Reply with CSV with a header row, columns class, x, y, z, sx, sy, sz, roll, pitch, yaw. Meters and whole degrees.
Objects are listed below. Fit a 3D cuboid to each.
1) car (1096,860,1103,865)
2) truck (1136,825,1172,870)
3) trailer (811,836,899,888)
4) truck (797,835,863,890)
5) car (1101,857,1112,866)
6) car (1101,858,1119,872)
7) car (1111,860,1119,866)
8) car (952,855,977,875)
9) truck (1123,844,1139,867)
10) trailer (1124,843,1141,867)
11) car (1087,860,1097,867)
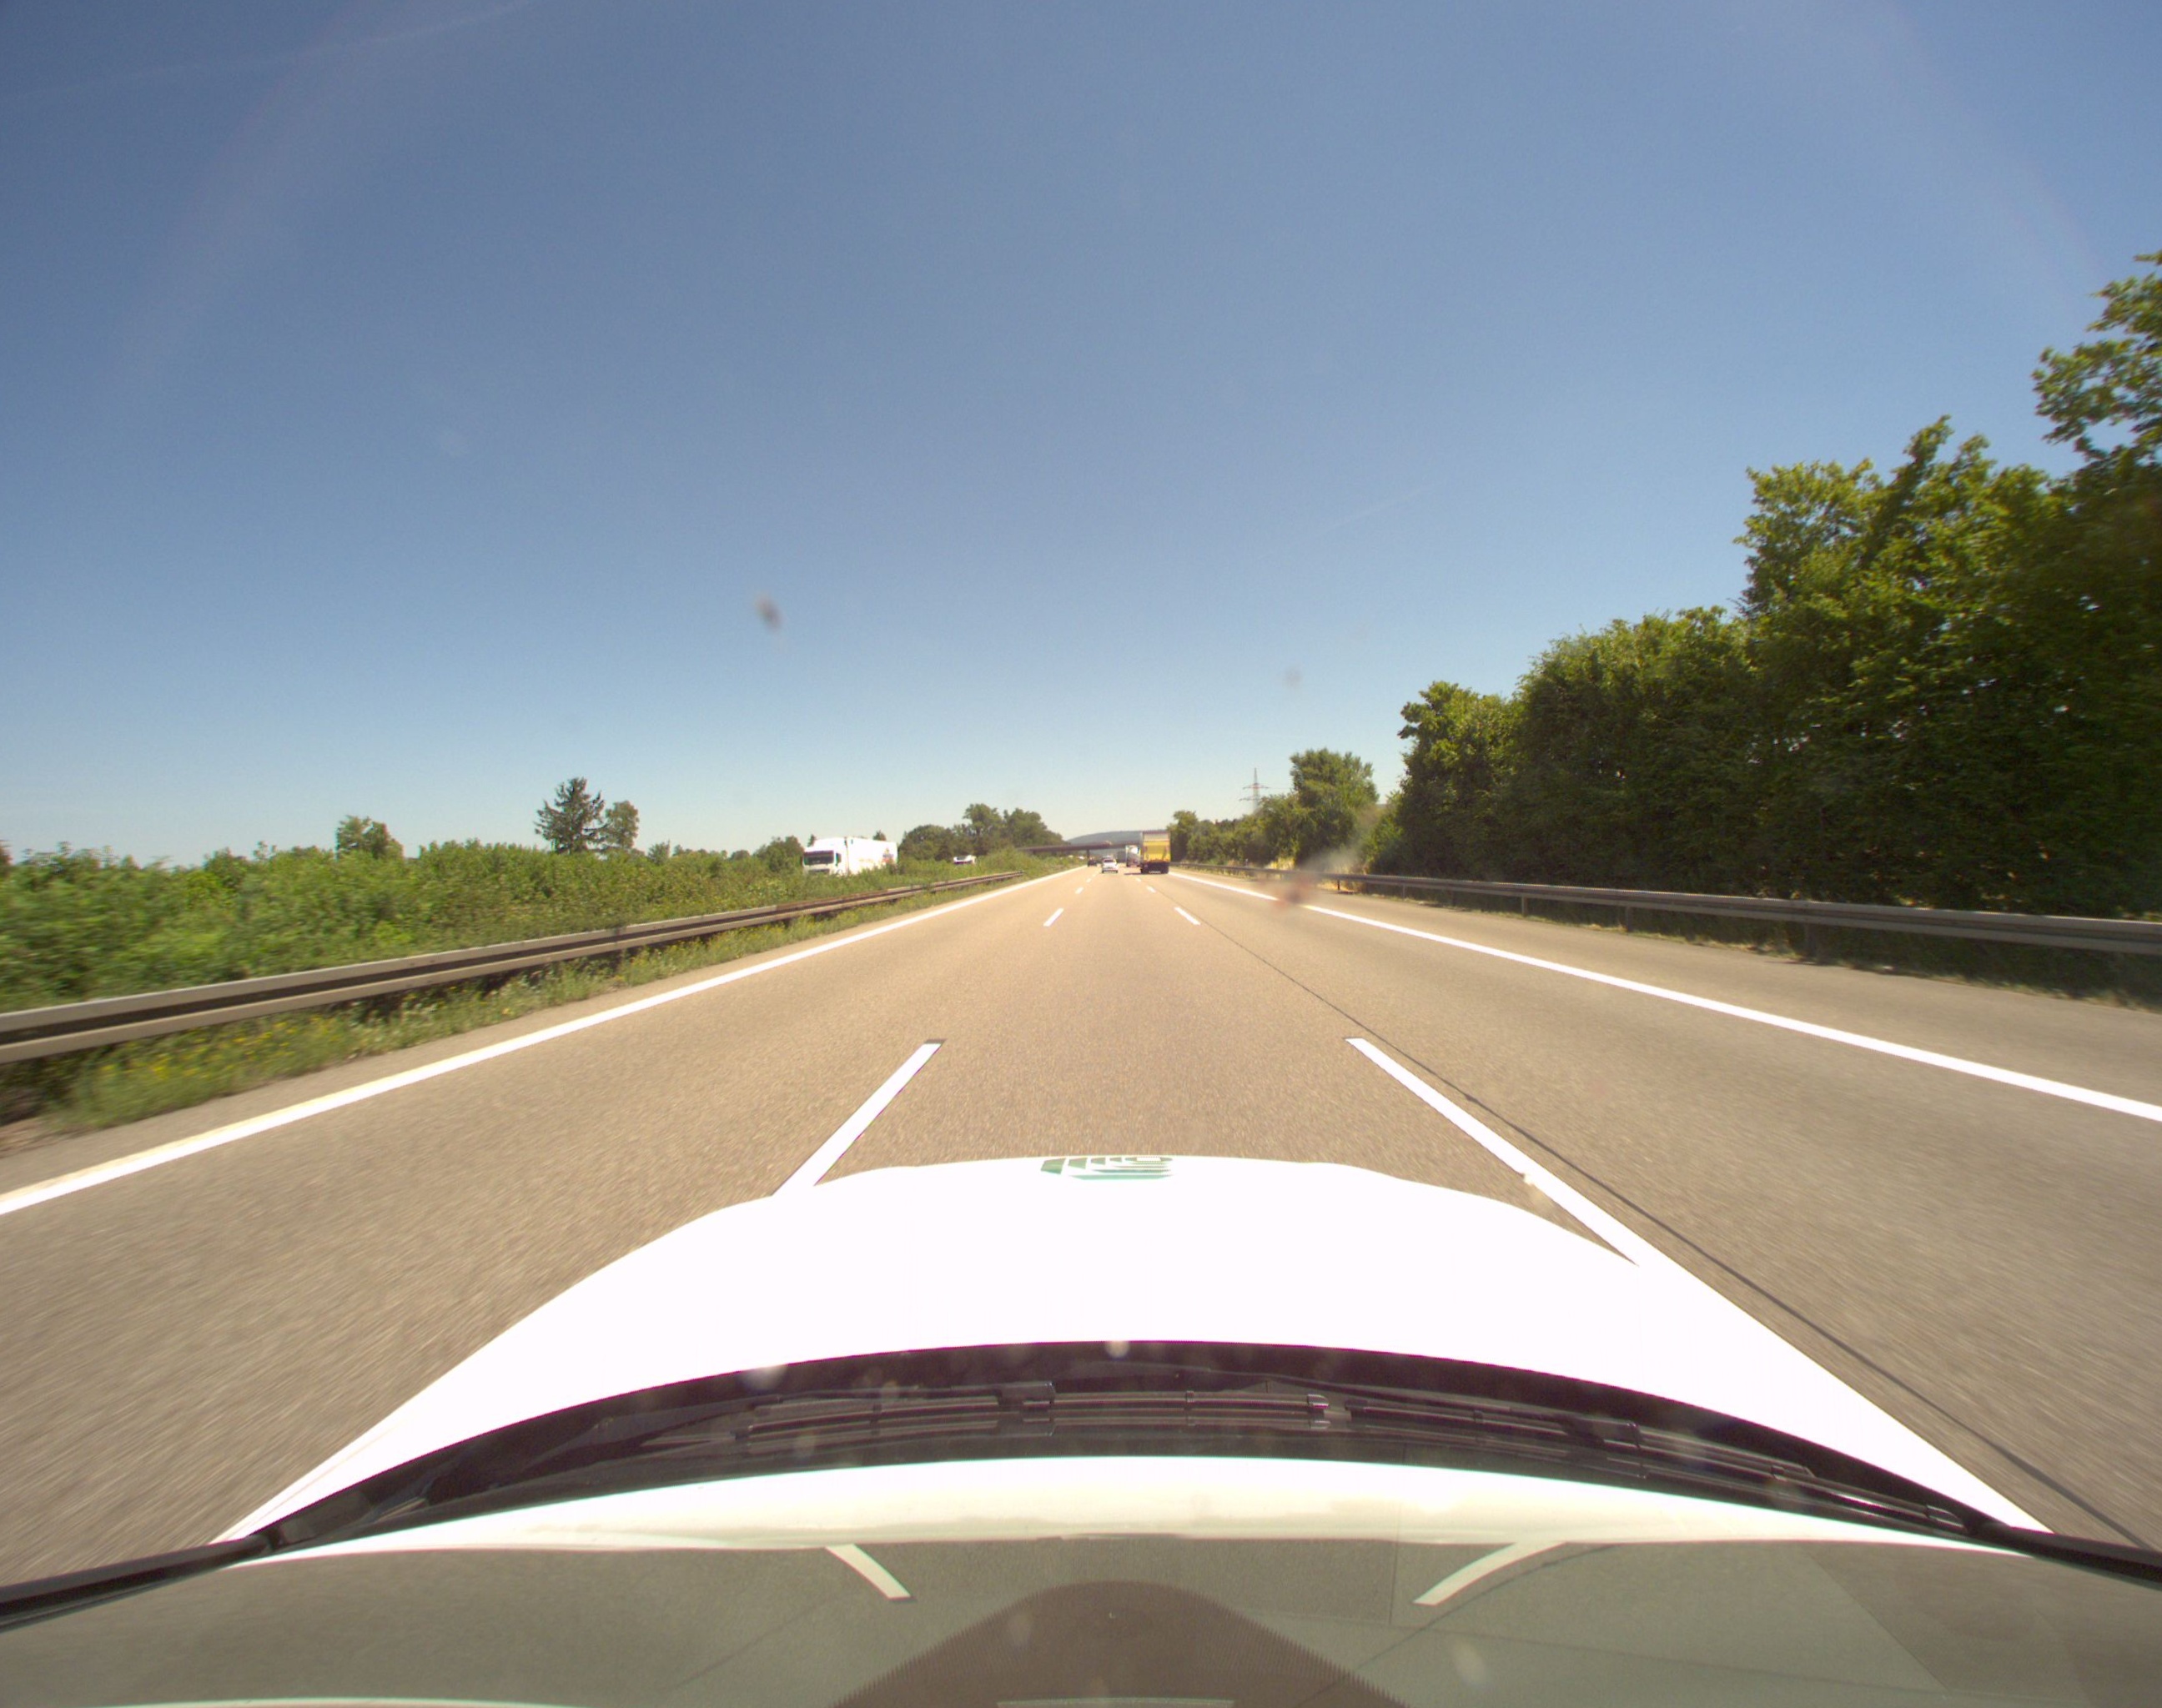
class,x,y,z,sx,sy,sz,roll,pitch,yaw
car,5.306,2.279,229.167,1.828,1.386,4.002,0,0,2
truck,7.100,-0.570,80.211,2.922,4.200,10.685,0,0,2
trailer,-18.117,0.632,66.729,2.922,3.870,13.915,0,0,2
truck,-18.348,0.597,59.969,2.922,3.870,5.754,0,0,2
car,4.518,1.350,142.454,1.844,1.633,4.002,0,0,2
car,3.097,1.141,86.581,1.799,1.468,4.002,0,0,2
car,7.916,2.063,190.061,1.828,1.386,4.002,0,0,2
car,-16.318,1.482,114.288,2.461,2.708,5.521,0,0,2
truck,8.959,0.255,145.756,2.563,4.072,6.394,0,0,2
trailer,8.822,0.230,141.051,2.570,4.074,11.106,0,0,2
car,2.162,1.775,158.924,1.828,1.386,4.002,0,0,2
